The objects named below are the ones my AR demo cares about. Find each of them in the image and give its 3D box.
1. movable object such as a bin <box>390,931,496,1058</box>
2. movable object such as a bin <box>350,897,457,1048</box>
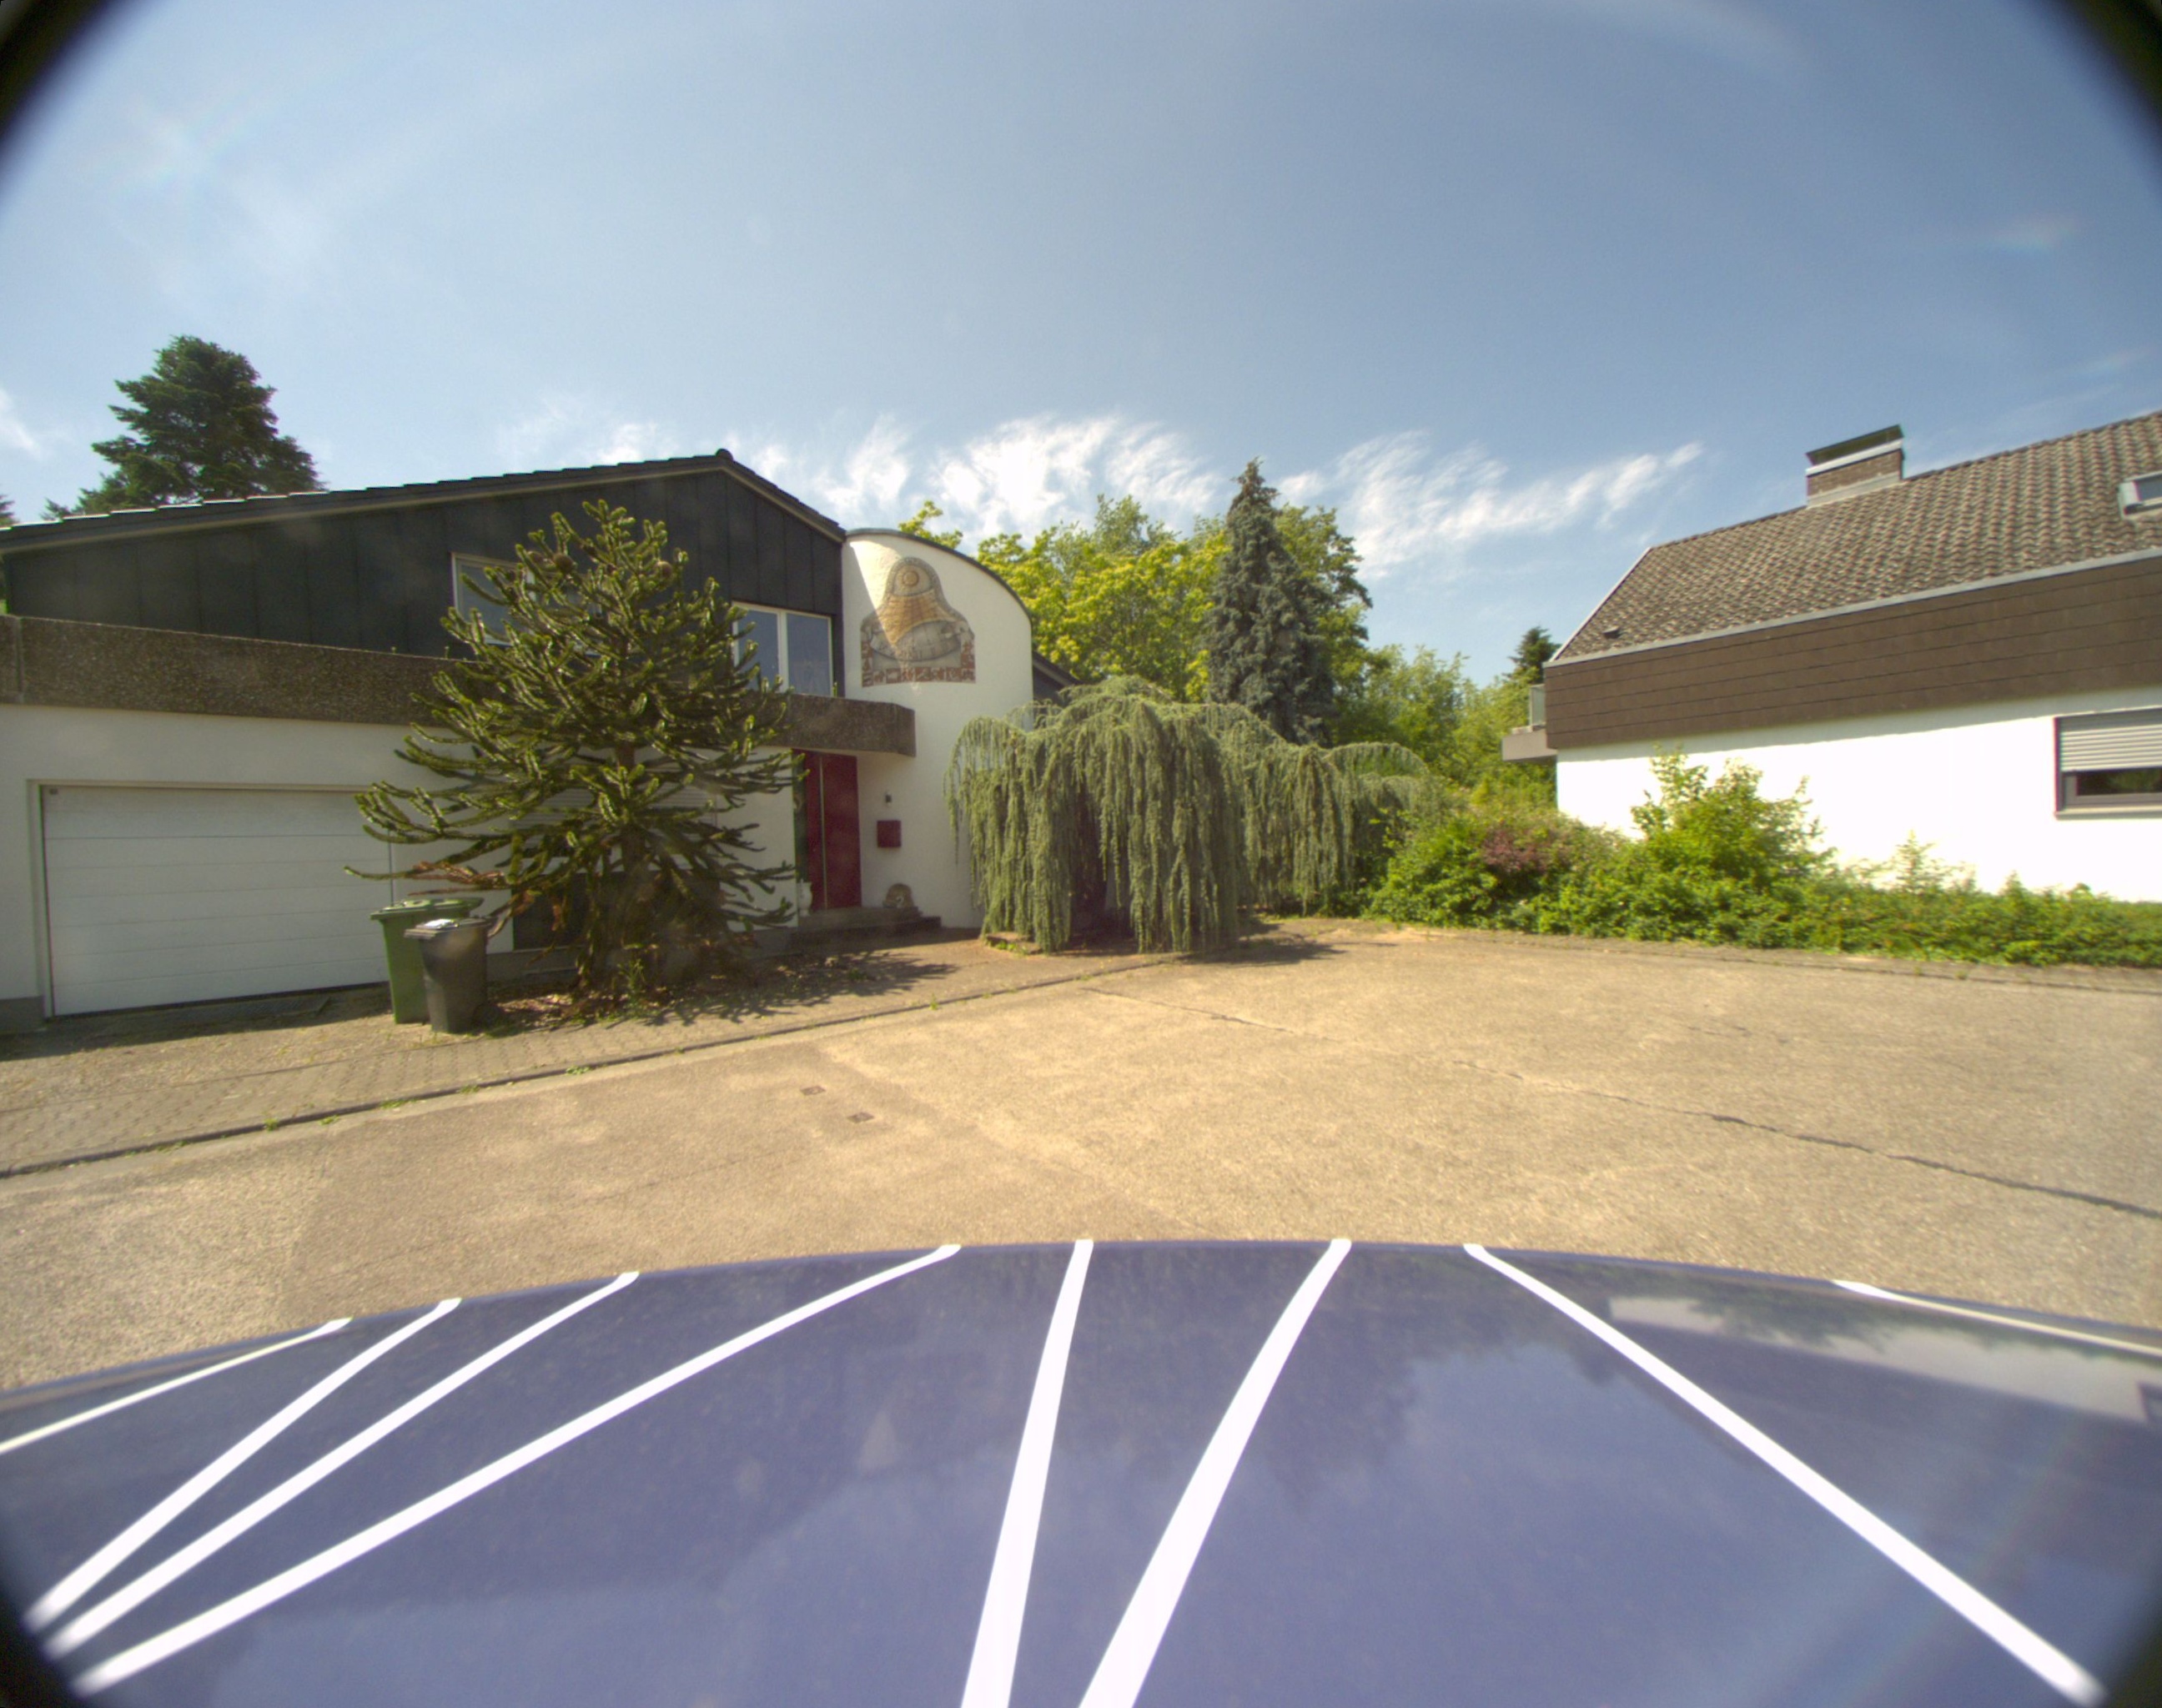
[{"bbox_3d":[-5.339,1.152,6.373,0.388,0.944,0.525,-1,1,25],"label":"movable object such as a bin"},{"bbox_3d":[-5.976,1.014,6.739,0.635,1.196,0.550,-3,2,-39],"label":"movable object such as a bin"}]
